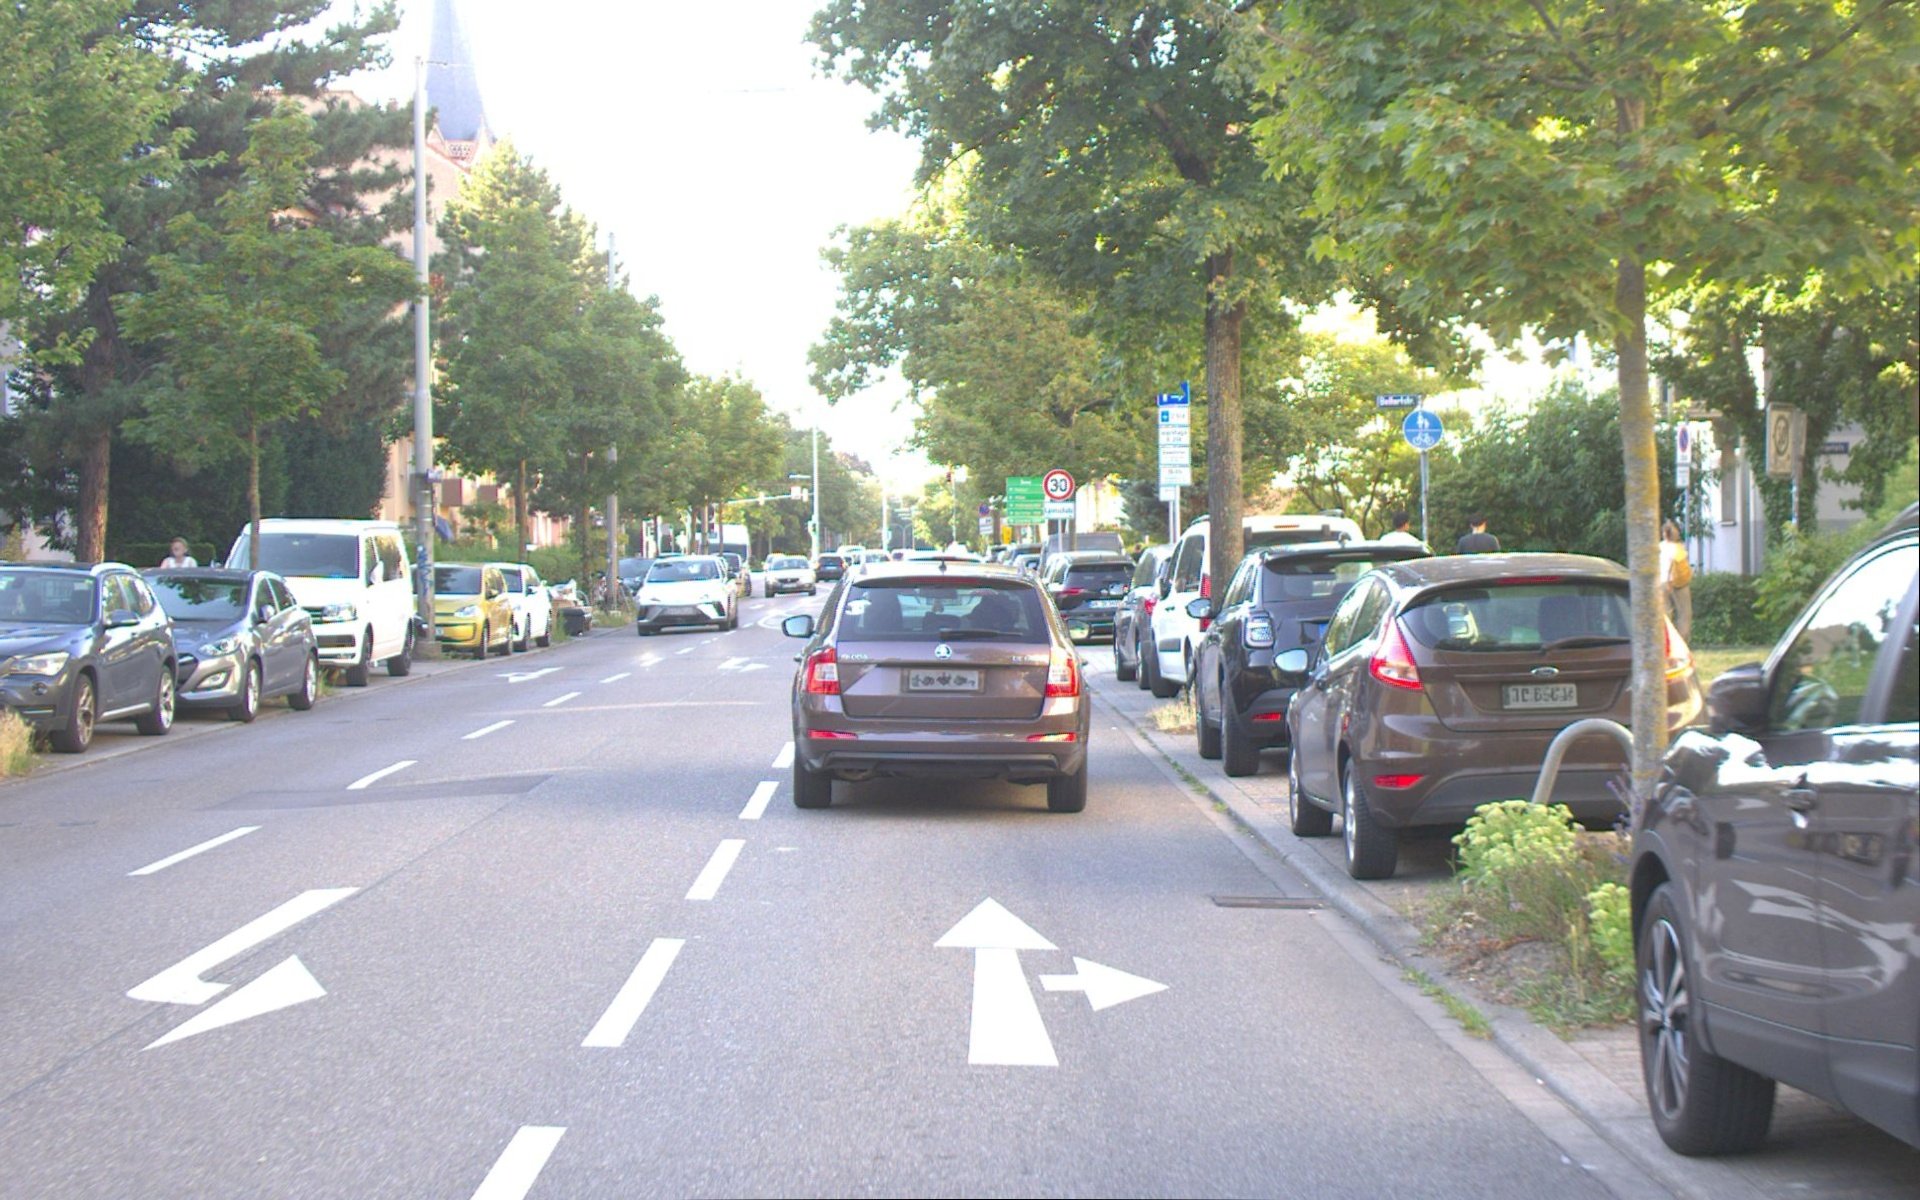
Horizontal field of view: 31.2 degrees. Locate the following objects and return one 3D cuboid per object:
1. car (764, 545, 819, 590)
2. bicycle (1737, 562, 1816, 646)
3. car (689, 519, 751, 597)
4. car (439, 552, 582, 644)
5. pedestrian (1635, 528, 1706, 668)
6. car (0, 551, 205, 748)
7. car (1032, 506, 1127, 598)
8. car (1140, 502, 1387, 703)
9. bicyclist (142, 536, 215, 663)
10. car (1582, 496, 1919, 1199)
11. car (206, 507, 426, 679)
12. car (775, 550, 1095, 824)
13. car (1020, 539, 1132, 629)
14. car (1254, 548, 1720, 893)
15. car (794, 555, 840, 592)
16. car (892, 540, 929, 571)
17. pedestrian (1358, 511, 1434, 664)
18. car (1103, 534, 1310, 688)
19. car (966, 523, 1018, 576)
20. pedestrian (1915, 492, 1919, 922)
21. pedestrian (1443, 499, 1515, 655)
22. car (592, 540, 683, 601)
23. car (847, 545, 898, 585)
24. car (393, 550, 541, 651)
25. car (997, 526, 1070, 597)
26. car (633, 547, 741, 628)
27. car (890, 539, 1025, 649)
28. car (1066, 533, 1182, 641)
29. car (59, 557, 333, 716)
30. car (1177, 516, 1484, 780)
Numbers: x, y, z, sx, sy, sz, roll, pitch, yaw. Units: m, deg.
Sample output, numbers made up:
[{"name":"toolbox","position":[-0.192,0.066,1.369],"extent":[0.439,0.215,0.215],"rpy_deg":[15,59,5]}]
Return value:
[{"name":"car","position":[-6.098,-1.195,124.784],"extent":[1.739,1.474,4.310],"rpy_deg":[-4,1,-1]},{"name":"bicycle","position":[9.470,0.040,39.936],"extent":[0.475,0.941,1.680],"rpy_deg":[-1,1,-1]},{"name":"car","position":[-8.904,-1.574,127.892],"extent":[1.991,2.771,5.504],"rpy_deg":[1,1,-1]},{"name":"car","position":[-7.628,-0.062,58.640],"extent":[1.781,1.489,3.971],"rpy_deg":[1,1,2]},{"name":"pedestrian","position":[8.896,-0.032,43.045],"extent":[0.799,1.716,0.744],"rpy_deg":[-1,1,9]},{"name":"car","position":[-7.840,0.367,29.442],"extent":[1.672,1.537,4.473],"rpy_deg":[-1,1,1]},{"name":"car","position":[2.490,-1.012,72.725],"extent":[1.916,1.854,5.633],"rpy_deg":[0,1,1]},{"name":"car","position":[2.877,-0.013,33.478],"extent":[1.800,1.802,4.424],"rpy_deg":[1,1,-3]},{"name":"bicyclist","position":[-9.983,-0.015,43.946],"extent":[0.603,1.587,0.939],"rpy_deg":[-1,1,7]},{"name":"car","position":[2.579,0.564,7.162],"extent":[1.718,1.595,4.096],"rpy_deg":[-2,1,-1]},{"name":"car","position":[-8.011,-0.124,43.203],"extent":[1.868,2.024,5.301],"rpy_deg":[0,1,-1]},{"name":"car","position":[-0.098,0.451,21.084],"extent":[1.754,1.487,4.000],"rpy_deg":[1,1,1]},{"name":"car","position":[2.079,-0.301,62.464],"extent":[1.754,1.551,4.105],"rpy_deg":[1,1,-2]},{"name":"car","position":[2.483,0.499,17.052],"extent":[1.613,1.461,3.959],"rpy_deg":[-2,1,-1]},{"name":"car","position":[-7.055,-1.311,169.514],"extent":[1.993,1.744,4.001],"rpy_deg":[-1,1,-6]},{"name":"car","position":[-2.575,-2.306,178.360],"extent":[1.644,1.593,3.651],"rpy_deg":[-1,1,-6]},{"name":"pedestrian","position":[5.361,-0.160,42.329],"extent":[0.749,1.854,1.068],"rpy_deg":[-1,1,-1]},{"name":"car","position":[2.676,0.080,38.238],"extent":[1.754,1.551,4.253],"rpy_deg":[-2,1,-3]},{"name":"car","position":[1.114,-1.771,121.030],"extent":[1.754,1.799,4.000],"rpy_deg":[1,1,0]},{"name":"pedestrian","position":[4.151,0.423,13.196],"extent":[0.788,1.694,0.807],"rpy_deg":[0,0,4]},{"name":"pedestrian","position":[6.282,-0.282,41.579],"extent":[0.799,1.854,0.950],"rpy_deg":[-1,1,11]},{"name":"car","position":[-8.096,-0.754,86.642],"extent":[1.781,1.475,4.033],"rpy_deg":[1,1,2]},{"name":"car","position":[-3.377,-1.343,131.709],"extent":[1.780,1.475,3.971],"rpy_deg":[1,1,-4]},{"name":"car","position":[-7.631,-0.023,53.531],"extent":[1.619,1.475,3.871],"rpy_deg":[1,1,2]},{"name":"car","position":[1.822,-0.963,85.271],"extent":[1.754,1.709,4.000],"rpy_deg":[1,1,1]},{"name":"car","position":[-5.390,-0.278,68.237],"extent":[1.781,1.489,3.971],"rpy_deg":[-2,1,0]},{"name":"car","position":[-0.063,-0.078,52.069],"extent":[1.892,1.501,3.790],"rpy_deg":[3,0,-1]},{"name":"car","position":[2.646,-0.237,56.288],"extent":[1.754,1.681,4.252],"rpy_deg":[1,1,1]},{"name":"car","position":[-7.593,0.319,34.524],"extent":[1.692,1.478,4.143],"rpy_deg":[0,1,2]},{"name":"car","position":[2.524,0.279,24.297],"extent":[1.754,1.657,4.252],"rpy_deg":[-2,1,1]}]
